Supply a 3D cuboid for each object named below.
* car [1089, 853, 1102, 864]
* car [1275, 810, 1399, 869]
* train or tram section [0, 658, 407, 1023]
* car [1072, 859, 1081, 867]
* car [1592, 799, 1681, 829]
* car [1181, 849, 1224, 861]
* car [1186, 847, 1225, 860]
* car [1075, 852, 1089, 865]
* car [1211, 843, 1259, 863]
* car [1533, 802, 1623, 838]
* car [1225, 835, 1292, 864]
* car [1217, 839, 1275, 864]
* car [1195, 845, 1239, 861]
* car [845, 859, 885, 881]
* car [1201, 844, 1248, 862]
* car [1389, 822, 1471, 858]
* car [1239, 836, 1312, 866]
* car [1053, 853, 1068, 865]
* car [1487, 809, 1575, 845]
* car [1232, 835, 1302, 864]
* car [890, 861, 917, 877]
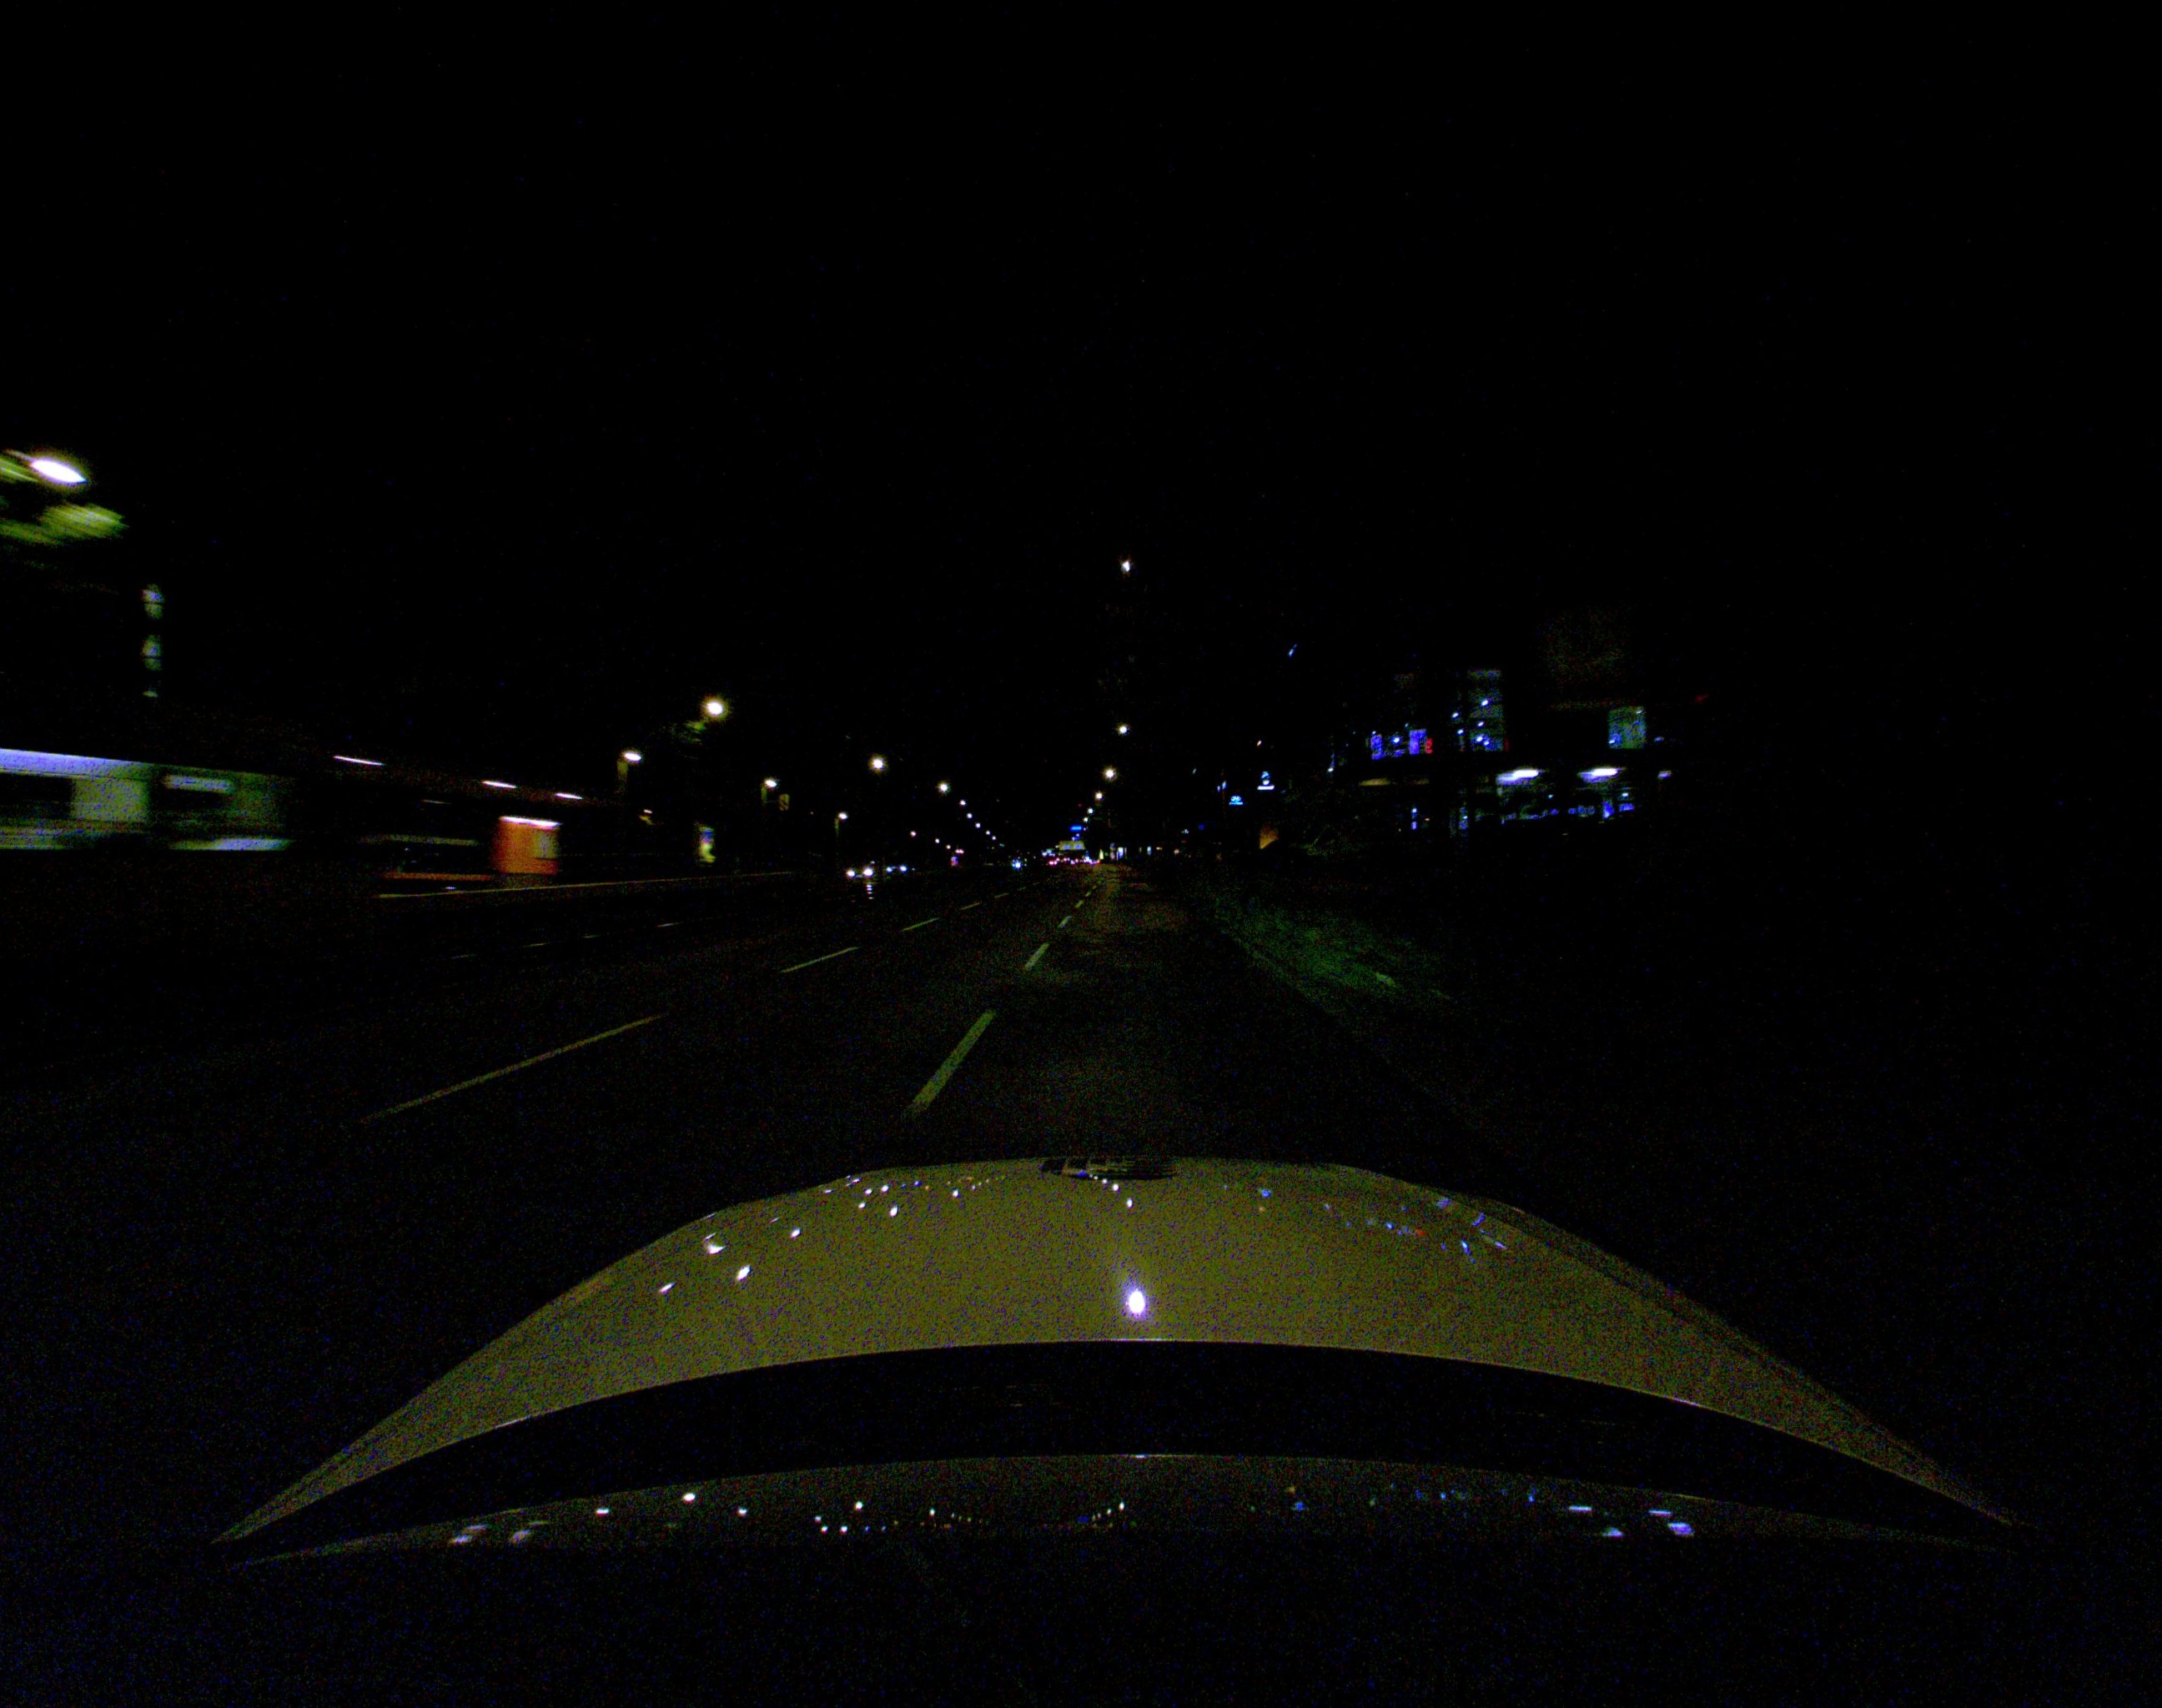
[{"bbox_3d":[2.867,0.940,158.445,2.419,2.113,4.827,-1,-1,1],"label":"car"},{"bbox_3d":[13.963,-0.778,44.471,6.030,2.529,2.272,-7,1,-16],"label":"car"},{"bbox_3d":[-12.905,-0.124,4.046,2.747,3.827,18.683,-1,0,3],"label":"train or tram section"},{"bbox_3d":[-0.926,2.060,185.429,1.880,1.860,4.001,-1,-1,1],"label":"car"},{"bbox_3d":[31.366,-2.253,46.119,1.658,1.335,3.851,-4,0,-21],"label":"car"},{"bbox_3d":[14.257,0.072,95.193,4.650,1.264,1.932,-2,1,-24],"label":"car"},{"bbox_3d":[14.110,-0.072,92.474,3.996,1.424,1.899,-2,1,-17],"label":"car"},{"bbox_3d":[0.242,0.831,141.987,2.348,2.129,4.827,-1,-1,1],"label":"car"},{"bbox_3d":[13.899,-0.094,73.709,3.806,1.453,1.710,-5,0,-13],"label":"car"},{"bbox_3d":[27.895,-1.906,45.859,1.783,1.601,3.939,-7,1,-21],"label":"car"},{"bbox_3d":[13.523,-0.328,62.139,4.461,1.687,1.993,-6,1,-10],"label":"car"},{"bbox_3d":[13.160,-0.194,65.072,4.080,1.568,1.849,-6,1,-10],"label":"car"},{"bbox_3d":[14.091,-0.087,84.371,4.002,1.391,1.813,-4,1,-21],"label":"car"},{"bbox_3d":[-16.010,1.205,60.667,1.778,1.497,4.174,-1,-1,1],"label":"car"},{"bbox_3d":[13.907,-0.083,78.908,4.030,1.373,1.816,-6,0,-15],"label":"car"},{"bbox_3d":[19.024,-0.719,44.526,1.812,1.712,3.939,-4,0,-21],"label":"car"},{"bbox_3d":[12.927,-0.182,54.295,4.202,1.663,1.955,-4,0,-10],"label":"car"},{"bbox_3d":[-3.535,0.942,140.705,2.255,2.014,4.827,-1,-1,1],"label":"car"},{"bbox_3d":[24.897,-1.471,45.211,1.801,1.577,3.939,-7,1,-21],"label":"car"},{"bbox_3d":[13.552,-0.319,59.376,4.460,1.810,1.993,-4,0,-10],"label":"car"},{"bbox_3d":[-17.750,1.521,81.588,1.653,1.516,3.914,-1,-1,3],"label":"car"}]
